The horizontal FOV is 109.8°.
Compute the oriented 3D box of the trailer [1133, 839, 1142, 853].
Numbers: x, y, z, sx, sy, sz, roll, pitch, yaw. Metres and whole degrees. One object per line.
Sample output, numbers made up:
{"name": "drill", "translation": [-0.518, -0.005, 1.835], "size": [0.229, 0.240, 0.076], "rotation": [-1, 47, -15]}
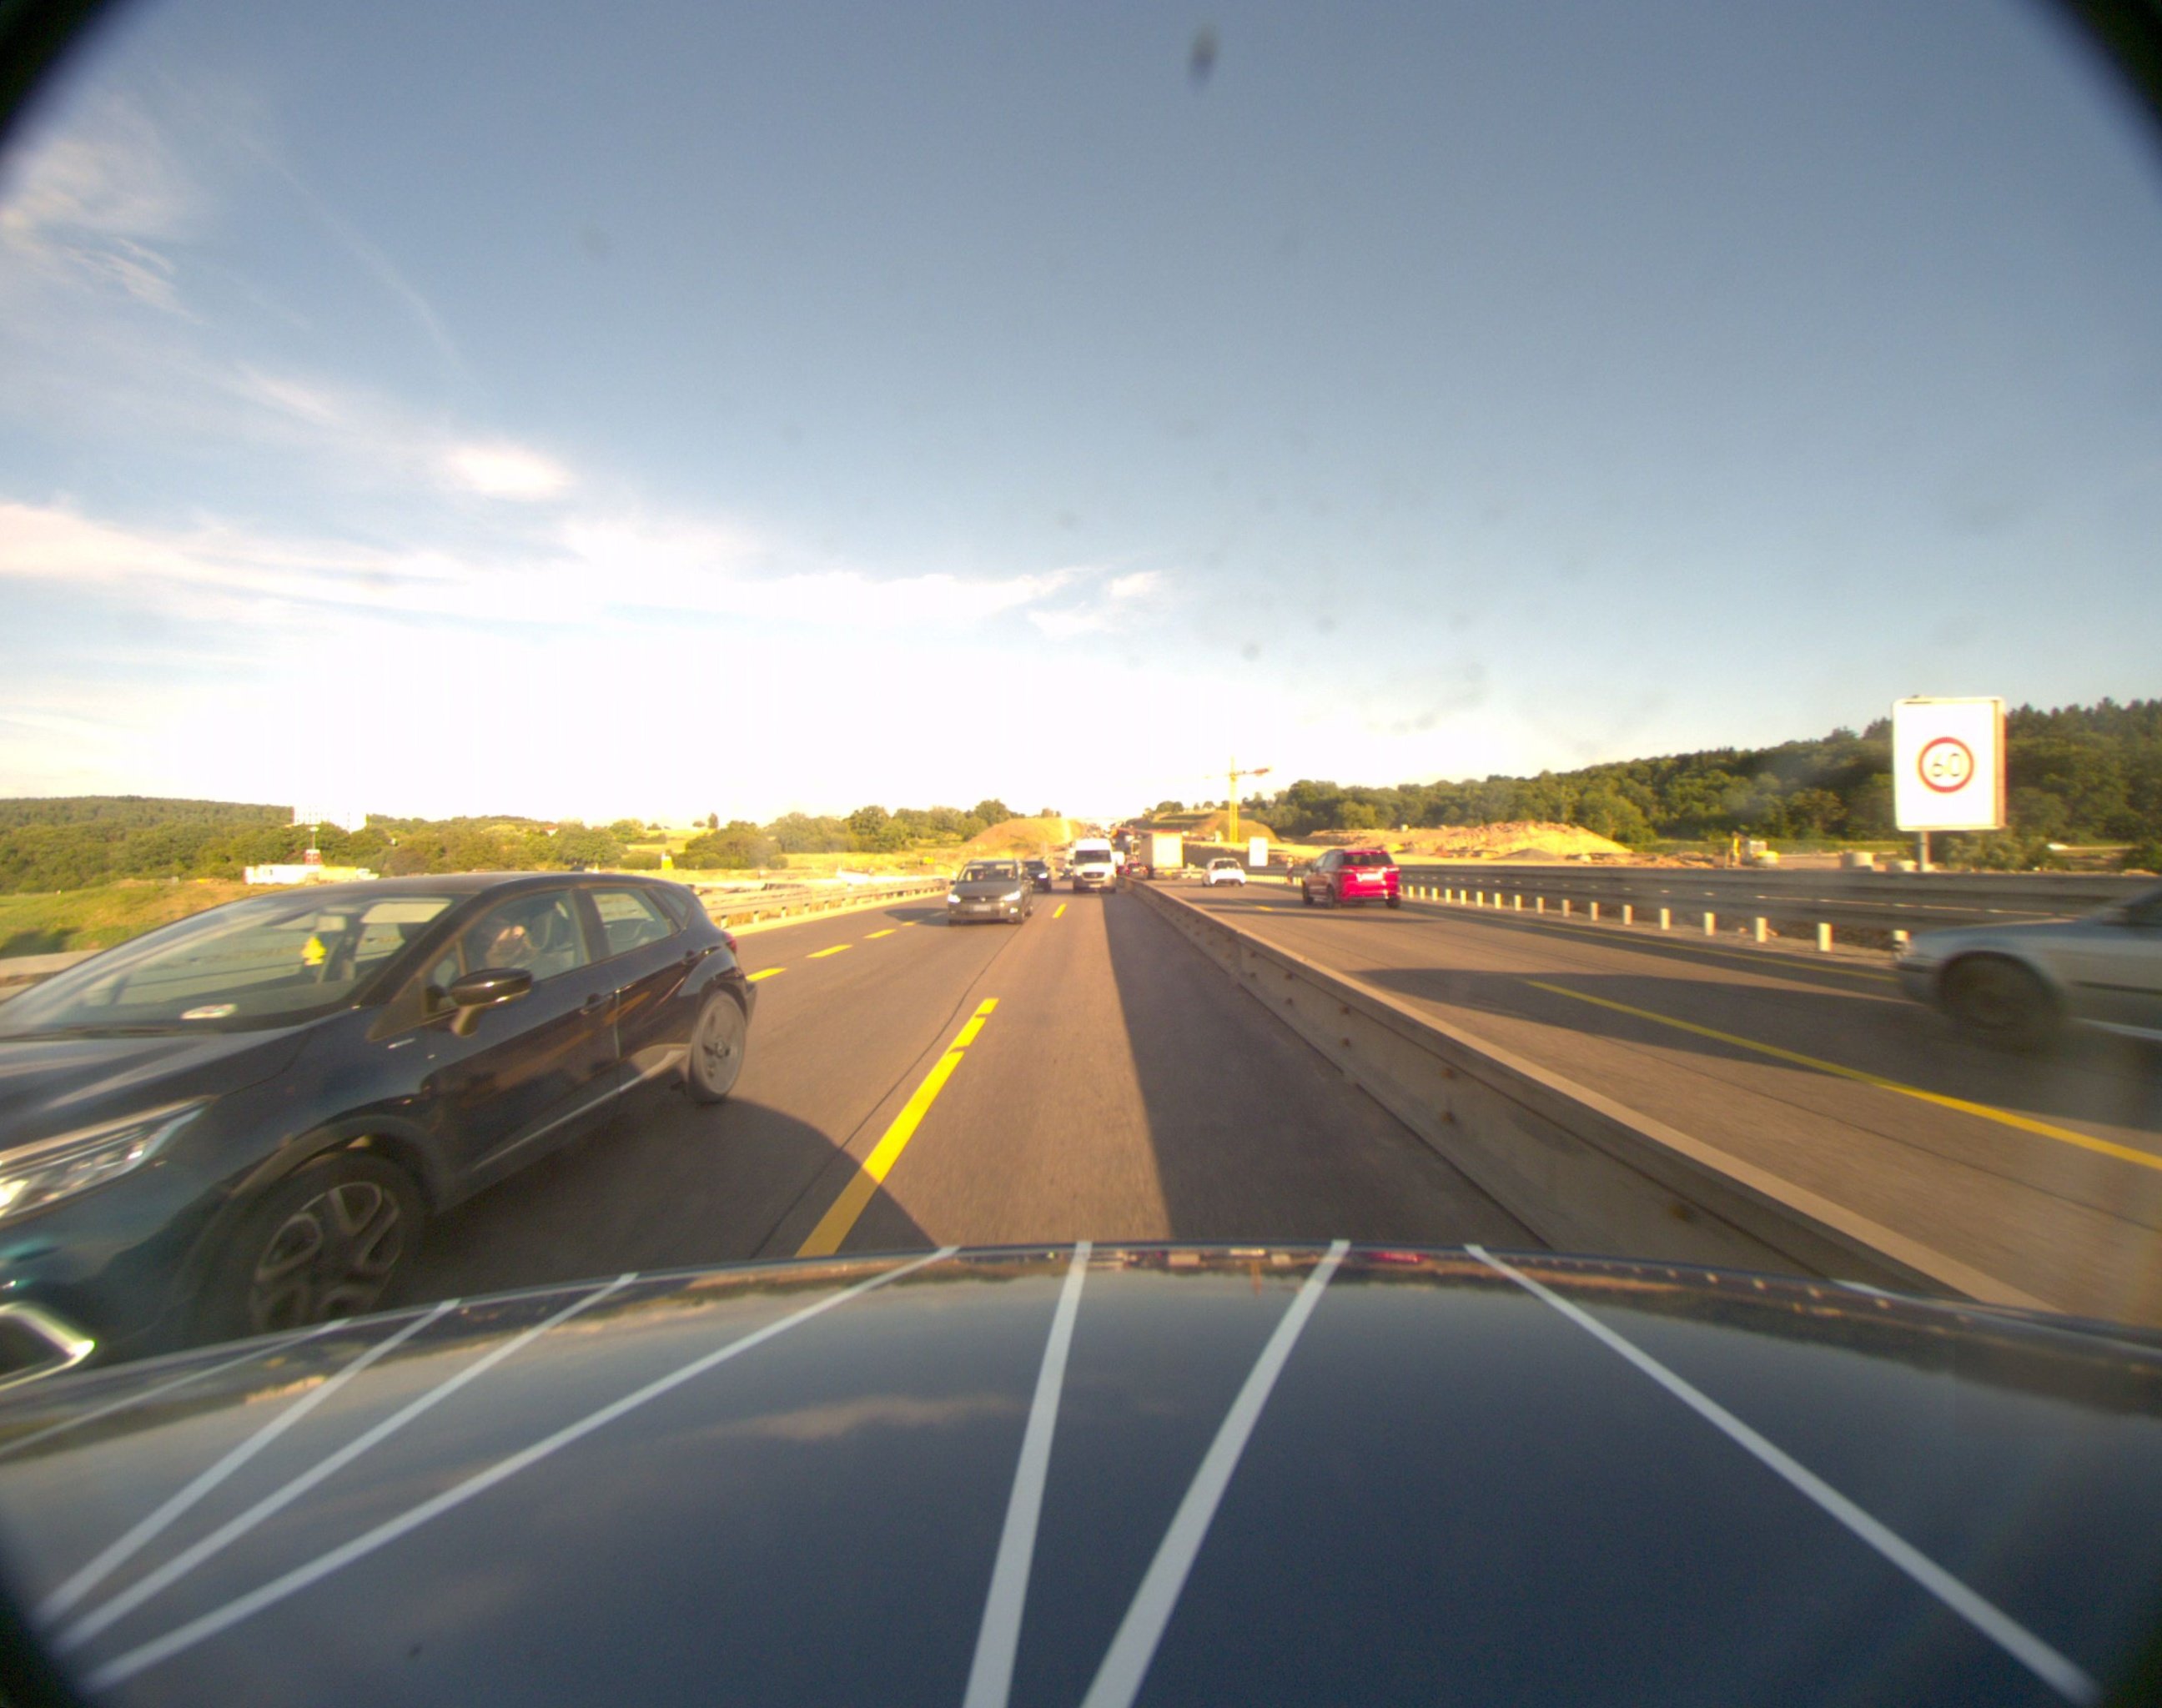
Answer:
{"name": "trailer", "translation": [17.546, -2.427, 235.433], "size": [2.779, 4.007, 13.686], "rotation": [-1, 0, 4]}

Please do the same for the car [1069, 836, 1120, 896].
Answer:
{"name": "car", "translation": [0.621, 0.542, 35.330], "size": [2.110, 2.518, 5.220], "rotation": [-2, 0, 1]}

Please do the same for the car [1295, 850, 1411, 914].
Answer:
{"name": "car", "translation": [7.370, 0.717, 21.000], "size": [1.784, 1.562, 4.000], "rotation": [-1, 0, 0]}

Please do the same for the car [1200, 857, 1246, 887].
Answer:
{"name": "car", "translation": [7.437, 0.922, 40.179], "size": [1.705, 1.437, 4.000], "rotation": [-1, 0, 0]}

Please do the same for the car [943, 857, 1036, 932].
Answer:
{"name": "car", "translation": [-2.241, 0.950, 19.776], "size": [1.817, 1.606, 4.525], "rotation": [-4, 0, -1]}

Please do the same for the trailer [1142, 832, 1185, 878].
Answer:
{"name": "trailer", "translation": [7.823, 0.122, 73.792], "size": [2.821, 4.026, 14.022], "rotation": [-1, 0, 1]}

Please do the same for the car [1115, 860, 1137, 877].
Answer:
{"name": "car", "translation": [4.716, 1.501, 80.212], "size": [1.998, 1.609, 4.605], "rotation": [-1, 0, 1]}

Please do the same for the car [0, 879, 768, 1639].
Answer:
{"name": "car", "translation": [-3.249, 0.992, 3.452], "size": [1.778, 1.576, 4.135], "rotation": [-2, 0, 2]}

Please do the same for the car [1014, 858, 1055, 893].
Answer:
{"name": "car", "translation": [-2.418, 1.087, 40.576], "size": [1.902, 1.703, 4.887], "rotation": [-2, 0, -1]}

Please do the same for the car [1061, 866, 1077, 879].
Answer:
{"name": "car", "translation": [-1.396, 2.259, 91.886], "size": [1.791, 1.477, 4.001], "rotation": [-3, -1, 0]}

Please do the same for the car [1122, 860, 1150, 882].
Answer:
{"name": "car", "translation": [4.618, 1.413, 64.030], "size": [1.998, 1.635, 4.512], "rotation": [-2, 0, 0]}

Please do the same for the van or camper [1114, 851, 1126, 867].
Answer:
{"name": "van or camper", "translation": [8.941, 1.169, 174.446], "size": [2.464, 3.477, 7.414], "rotation": [-2, -1, 0]}

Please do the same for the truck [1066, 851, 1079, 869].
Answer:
{"name": "truck", "translation": [-1.775, 1.233, 161.005], "size": [2.264, 3.705, 6.572], "rotation": [-4, 0, -2]}

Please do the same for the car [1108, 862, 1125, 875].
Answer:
{"name": "car", "translation": [4.519, 1.826, 96.708], "size": [1.771, 1.526, 3.999], "rotation": [-2, 0, -1]}

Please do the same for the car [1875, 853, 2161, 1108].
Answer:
{"name": "car", "translation": [7.016, 0.719, 3.621], "size": [1.681, 1.414, 4.579], "rotation": [-2, 0, 1]}

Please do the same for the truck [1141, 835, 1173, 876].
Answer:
{"name": "truck", "translation": [7.957, 0.170, 80.173], "size": [2.821, 4.024, 5.673], "rotation": [-1, 0, 1]}
